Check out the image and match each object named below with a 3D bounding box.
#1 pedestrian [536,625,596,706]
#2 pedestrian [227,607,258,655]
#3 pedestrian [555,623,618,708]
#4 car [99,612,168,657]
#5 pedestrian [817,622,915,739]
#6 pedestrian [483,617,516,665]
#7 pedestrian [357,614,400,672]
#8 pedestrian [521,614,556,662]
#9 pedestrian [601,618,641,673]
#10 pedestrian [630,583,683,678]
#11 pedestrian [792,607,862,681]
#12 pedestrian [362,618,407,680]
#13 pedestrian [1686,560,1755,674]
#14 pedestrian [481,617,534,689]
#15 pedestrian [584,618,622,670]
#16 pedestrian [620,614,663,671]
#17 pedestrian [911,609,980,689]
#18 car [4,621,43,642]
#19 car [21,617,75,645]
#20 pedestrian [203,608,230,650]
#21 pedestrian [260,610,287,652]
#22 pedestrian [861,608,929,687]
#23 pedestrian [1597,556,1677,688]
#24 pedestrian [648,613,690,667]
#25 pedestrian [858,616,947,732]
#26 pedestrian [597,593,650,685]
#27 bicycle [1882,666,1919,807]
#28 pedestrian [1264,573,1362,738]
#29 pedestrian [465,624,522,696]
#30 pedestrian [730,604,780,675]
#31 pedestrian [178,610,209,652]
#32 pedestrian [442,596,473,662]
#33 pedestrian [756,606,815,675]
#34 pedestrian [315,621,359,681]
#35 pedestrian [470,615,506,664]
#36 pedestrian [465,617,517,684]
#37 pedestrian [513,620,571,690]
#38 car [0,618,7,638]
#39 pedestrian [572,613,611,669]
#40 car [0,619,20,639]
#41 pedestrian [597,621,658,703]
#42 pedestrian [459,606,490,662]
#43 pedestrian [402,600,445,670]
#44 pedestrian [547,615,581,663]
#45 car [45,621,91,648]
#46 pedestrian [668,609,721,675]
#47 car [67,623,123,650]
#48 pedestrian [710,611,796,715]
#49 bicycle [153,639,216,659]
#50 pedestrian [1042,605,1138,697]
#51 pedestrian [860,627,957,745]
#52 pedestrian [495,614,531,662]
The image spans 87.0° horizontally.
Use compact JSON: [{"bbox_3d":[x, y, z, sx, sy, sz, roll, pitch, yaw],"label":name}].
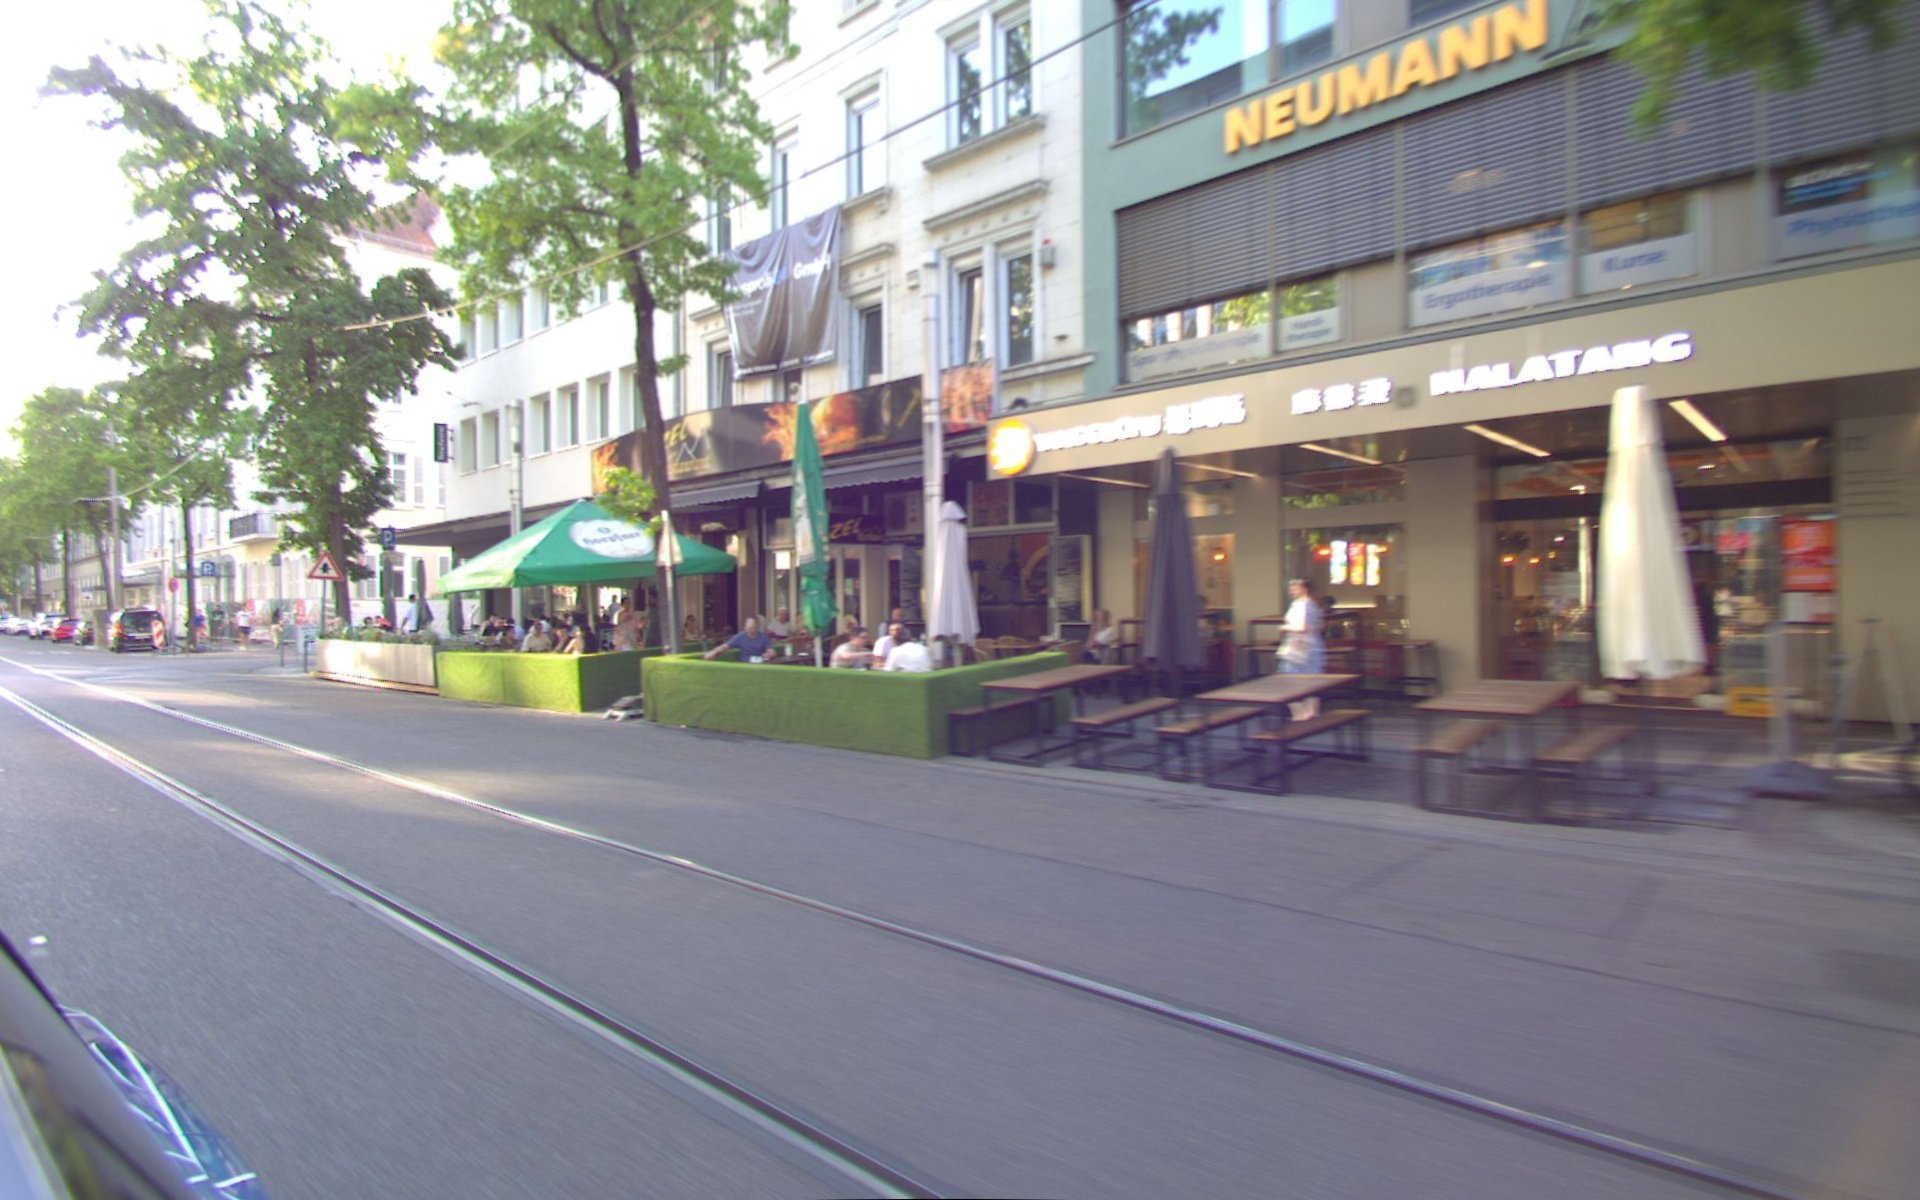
[{"bbox_3d":[-6.497,1.063,16.687,0.697,1.254,0.612,-1,2,42],"label":"pedestrian"},{"bbox_3d":[-28.560,1.224,40.279,0.984,1.805,0.766,-1,2,44],"label":"pedestrian"},{"bbox_3d":[-5.863,1.014,15.901,0.697,1.254,0.612,-1,2,42],"label":"pedestrian"},{"bbox_3d":[-36.432,1.481,44.551,4.560,1.846,1.837,-1,0,44],"label":"car"},{"bbox_3d":[-1.089,0.906,11.725,0.872,1.253,0.650,-1,2,42],"label":"pedestrian"},{"bbox_3d":[-12.355,1.094,27.153,0.687,1.245,0.546,-1,1,43],"label":"pedestrian"},{"bbox_3d":[-14.454,1.058,25.142,0.807,1.397,0.682,-1,1,43],"label":"pedestrian"},{"bbox_3d":[-10.625,0.956,25.536,0.687,1.170,0.546,-1,1,43],"label":"pedestrian"},{"bbox_3d":[-7.623,1.010,22.735,0.687,1.170,0.546,-1,1,43],"label":"pedestrian"},{"bbox_3d":[-5.868,0.578,19.576,0.697,1.770,0.670,-1,1,44],"label":"pedestrian"},{"bbox_3d":[-2.398,0.775,18.263,0.945,1.246,0.769,-1,2,42],"label":"pedestrian"},{"bbox_3d":[-13.707,1.154,24.103,0.807,1.397,0.682,-1,1,43],"label":"pedestrian"},{"bbox_3d":[11.267,0.240,14.990,0.706,1.616,0.690,-1,2,44],"label":"pedestrian"},{"bbox_3d":[-9.038,1.037,20.204,0.781,1.357,0.700,-1,1,45],"label":"pedestrian"},{"bbox_3d":[-8.270,1.007,23.451,0.687,1.170,0.546,-1,1,43],"label":"pedestrian"},{"bbox_3d":[-6.962,0.922,22.119,0.687,1.183,0.595,-1,1,43],"label":"pedestrian"},{"bbox_3d":[-0.227,0.762,15.998,0.788,1.176,0.693,-1,2,42],"label":"pedestrian"},{"bbox_3d":[-73.191,2.421,79.060,4.617,1.477,1.872,-2,2,43],"label":"car"},{"bbox_3d":[-59.793,2.020,66.329,4.947,1.701,1.847,-1,2,40],"label":"car"},{"bbox_3d":[-33.586,1.304,45.711,0.876,1.826,0.711,-1,2,42],"label":"pedestrian"},{"bbox_3d":[-27.617,1.248,40.698,0.967,1.669,0.699,-2,-2,44],"label":"pedestrian"},{"bbox_3d":[-1.074,0.776,16.766,0.788,1.223,0.729,-1,2,42],"label":"pedestrian"},{"bbox_3d":[8.962,0.279,13.391,0.734,1.663,0.690,-1,2,44],"label":"pedestrian"},{"bbox_3d":[-6.485,0.886,22.568,0.687,1.167,0.595,-1,1,43],"label":"pedestrian"},{"bbox_3d":[-0.700,0.872,12.298,0.798,1.303,0.650,-1,2,42],"label":"pedestrian"},{"bbox_3d":[-6.319,0.720,18.999,0.697,1.683,0.612,-1,1,42],"label":"pedestrian"},{"bbox_3d":[6.640,0.877,5.809,0.823,0.871,1.864,-3,1,-9],"label":"bicycle"},{"bbox_3d":[3.593,0.540,10.302,0.700,1.586,0.640,-1,2,42],"label":"pedestrian"},{"bbox_3d":[-8.666,1.092,18.809,0.772,1.269,0.700,-1,1,45],"label":"pedestrian"},{"bbox_3d":[-4.038,0.771,19.944,0.697,1.319,0.612,-1,2,42],"label":"pedestrian"},{"bbox_3d":[-34.197,1.360,45.138,0.884,1.795,0.856,-1,2,42],"label":"pedestrian"},{"bbox_3d":[-14.380,0.809,28.951,0.675,1.829,0.766,-2,1,-32],"label":"pedestrian"},{"bbox_3d":[-3.326,0.766,19.328,0.788,1.241,0.729,-1,2,42],"label":"pedestrian"},{"bbox_3d":[-15.055,1.219,24.459,0.807,1.397,0.682,-1,1,43],"label":"pedestrian"},{"bbox_3d":[-12.871,1.070,27.593,0.727,1.291,0.620,-1,1,43],"label":"pedestrian"},{"bbox_3d":[-9.658,1.026,20.825,0.807,1.321,0.682,-1,1,43],"label":"pedestrian"},{"bbox_3d":[-8.008,1.043,19.386,0.869,1.269,0.700,-1,1,45],"label":"pedestrian"},{"bbox_3d":[-98.157,2.855,102.578,4.765,1.972,1.906,-2,-1,43],"label":"car"},{"bbox_3d":[-8.903,0.982,24.432,0.687,1.308,0.595,-1,1,43],"label":"pedestrian"},{"bbox_3d":[-87.388,2.666,92.313,4.765,1.754,1.927,-2,2,43],"label":"car"},{"bbox_3d":[-5.417,0.997,16.484,0.697,1.254,0.612,-1,2,42],"label":"pedestrian"},{"bbox_3d":[-15.730,1.093,32.781,0.851,1.754,0.800,-1,-1,-28],"label":"pedestrian"},{"bbox_3d":[-14.181,0.914,26.760,0.686,1.805,0.749,-1,1,39],"label":"pedestrian"},{"bbox_3d":[-10.141,0.996,25.927,0.687,1.170,0.546,-1,1,43],"label":"pedestrian"},{"bbox_3d":[-52.855,2.018,59.927,4.141,1.416,1.642,-1,2,44],"label":"car"},{"bbox_3d":[-5.355,0.835,20.375,0.798,1.251,0.662,-1,1,42],"label":"pedestrian"},{"bbox_3d":[-46.157,1.923,53.969,4.507,1.254,1.700,-1,2,42],"label":"car"},{"bbox_3d":[-2.895,0.853,14.147,0.872,1.353,0.746,-1,2,42],"label":"pedestrian"},{"bbox_3d":[-29.902,1.879,39.024,1.775,0.613,1.283,-2,1,-44],"label":"bicycle"},{"bbox_3d":[1.830,0.700,14.285,1.065,1.197,0.745,-1,2,42],"label":"pedestrian"},{"bbox_3d":[-0.575,0.929,11.220,0.798,1.202,0.650,-1,2,42],"label":"pedestrian"},{"bbox_3d":[-12.374,1.046,28.024,0.739,1.279,0.638,-1,1,43],"label":"pedestrian"}]
